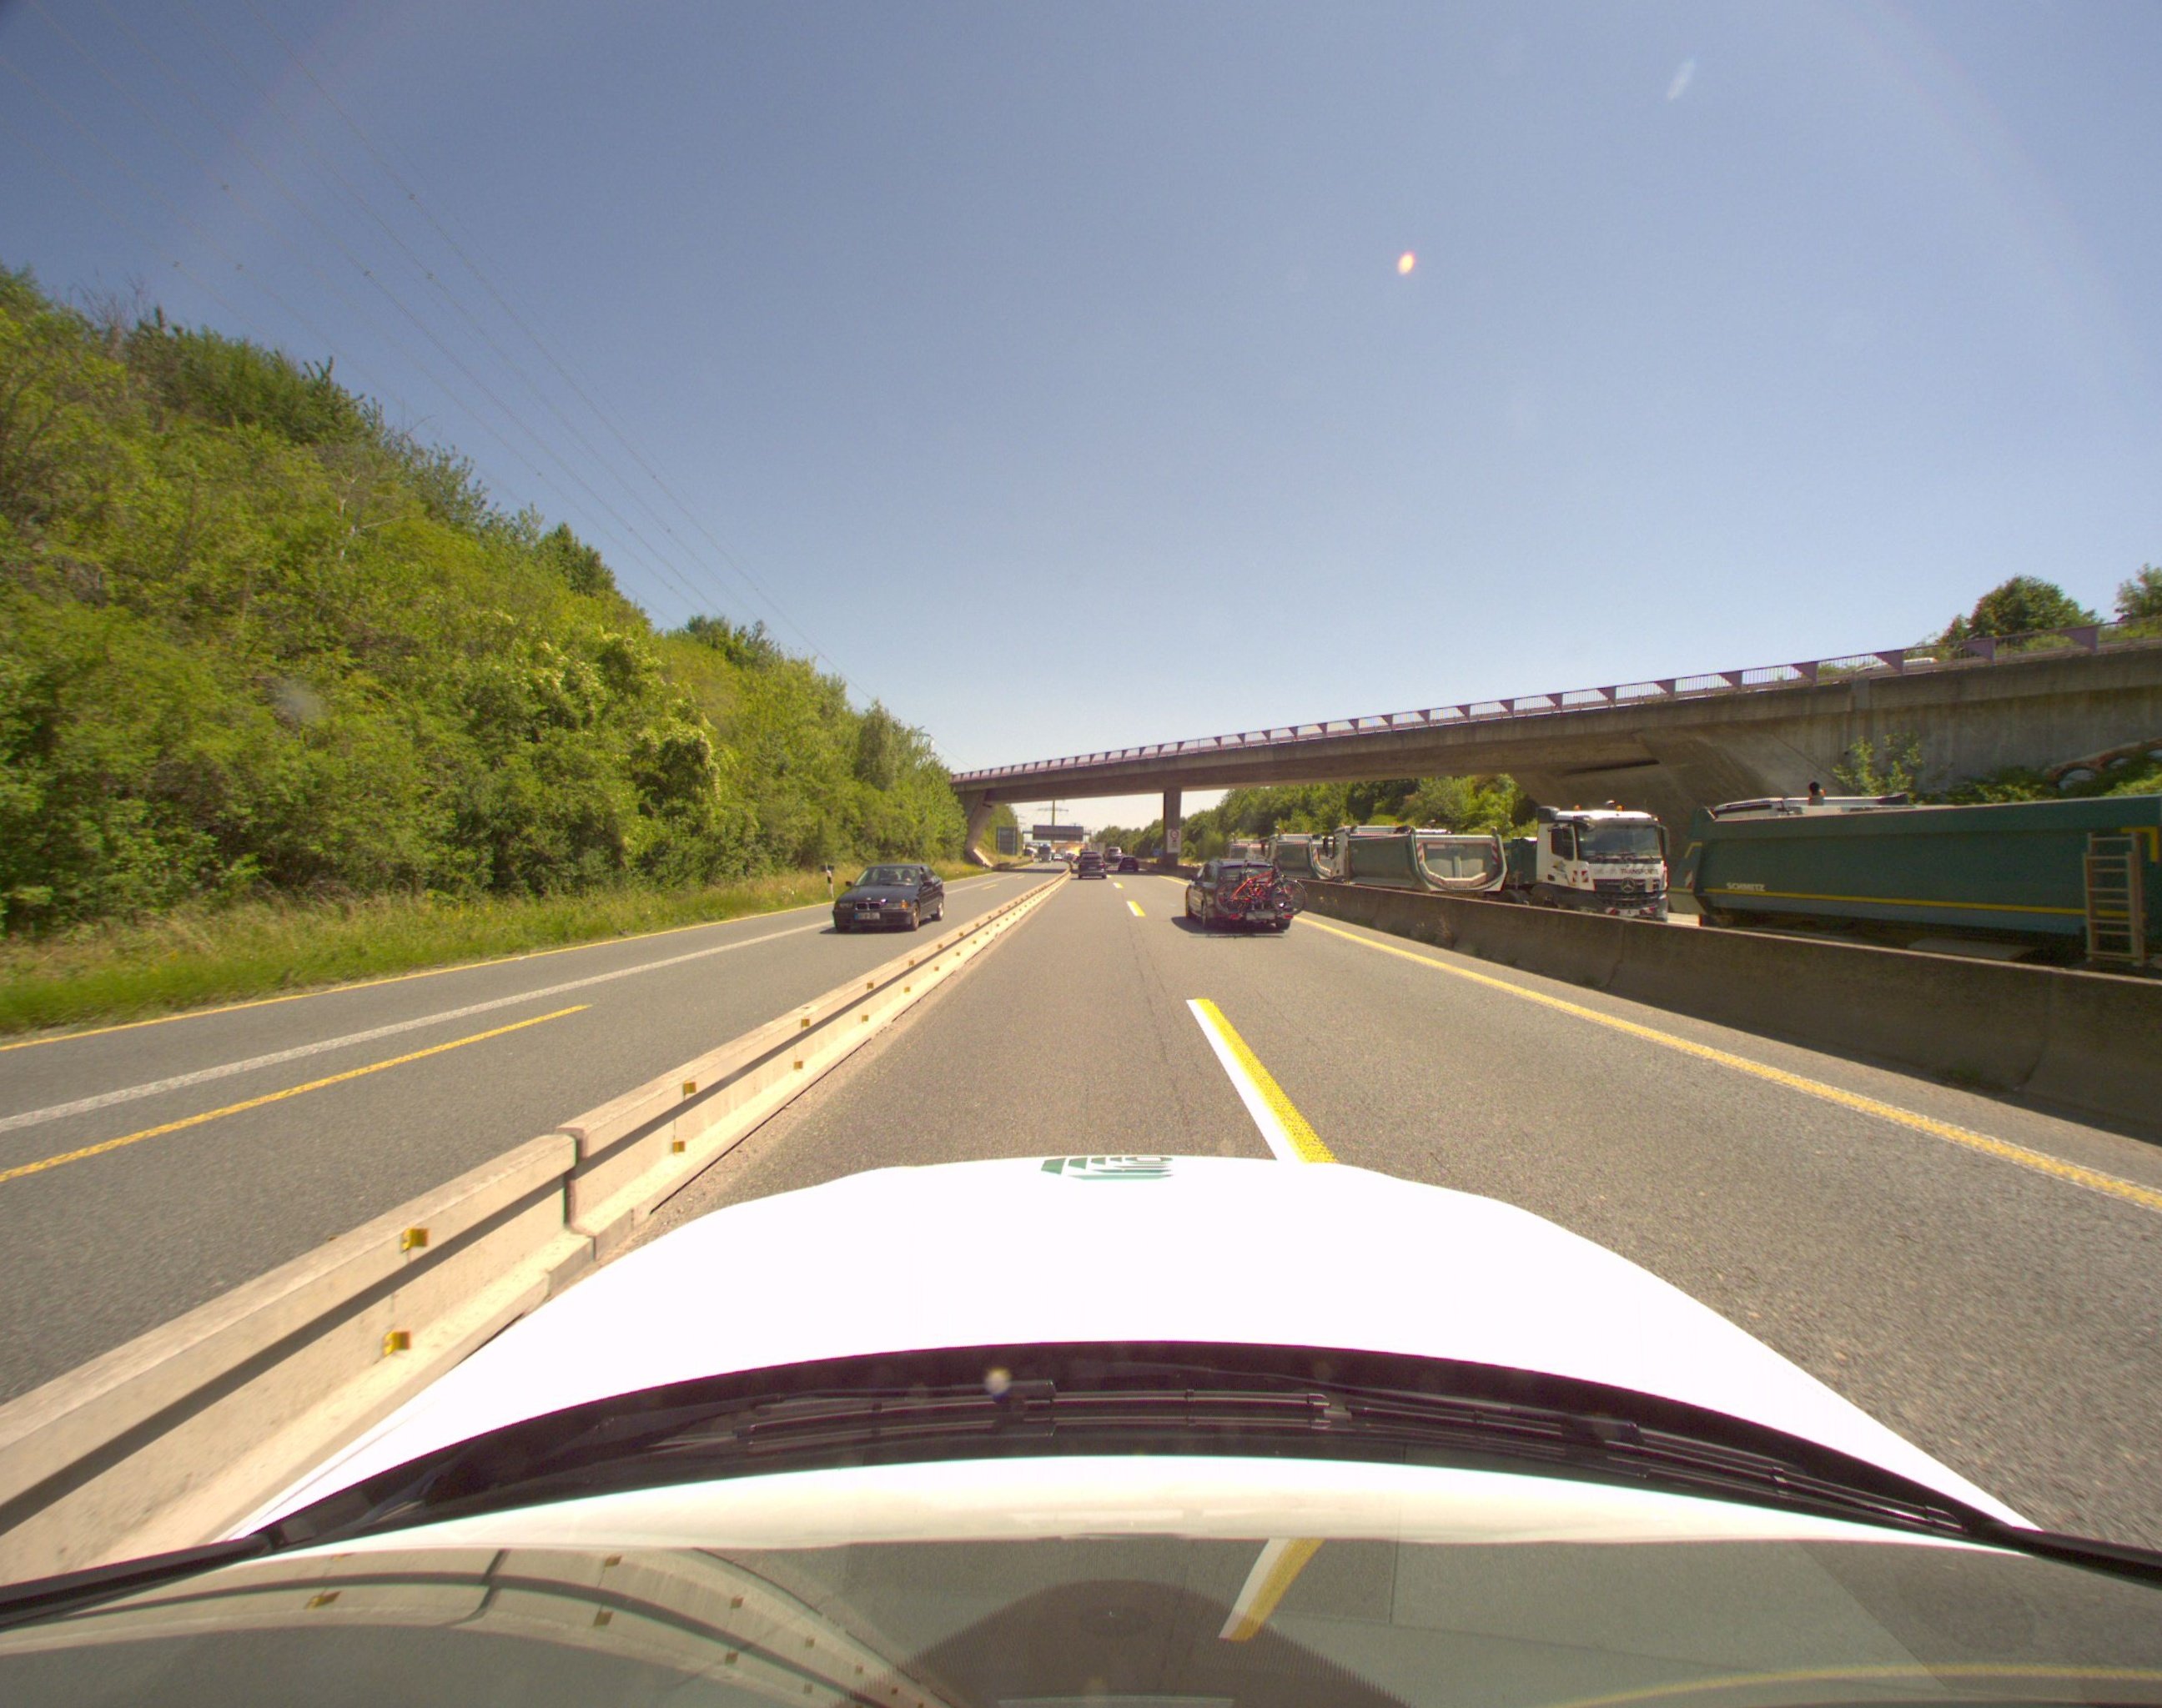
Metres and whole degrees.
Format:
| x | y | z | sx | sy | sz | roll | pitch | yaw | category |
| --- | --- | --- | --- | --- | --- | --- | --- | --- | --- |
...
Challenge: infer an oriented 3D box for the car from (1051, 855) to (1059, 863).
| x | y | z | sx | sy | sz | roll | pitch | yaw | category |
| --- | --- | --- | --- | --- | --- | --- | --- | --- | --- |
| -5.940 | 1.105 | 184.921 | 1.758 | 1.838 | 3.995 | 0 | -1 | -3 | car |

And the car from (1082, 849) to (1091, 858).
| x | y | z | sx | sy | sz | roll | pitch | yaw | category |
| --- | --- | --- | --- | --- | --- | --- | --- | --- | --- |
| 1.260 | -0.117 | 187.893 | 1.895 | 1.968 | 4.271 | 0 | 0 | -3 | car |

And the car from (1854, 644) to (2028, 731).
| x | y | z | sx | sy | sz | roll | pitch | yaw | category |
| --- | --- | --- | --- | --- | --- | --- | --- | --- | --- |
| 36.057 | -6.880 | 34.267 | 2.269 | 2.540 | 4.728 | 0 | -1 | -34 | car |

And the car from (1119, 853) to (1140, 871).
| x | y | z | sx | sy | sz | roll | pitch | yaw | category |
| --- | --- | --- | --- | --- | --- | --- | --- | --- | --- |
| 4.436 | 0.744 | 75.255 | 1.892 | 1.585 | 4.279 | 0 | 0 | 2 | car |

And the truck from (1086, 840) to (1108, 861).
| x | y | z | sx | sy | sz | roll | pitch | yaw | category |
| --- | --- | --- | --- | --- | --- | --- | --- | --- | --- |
| 2.965 | -0.610 | 152.389 | 3.285 | 3.845 | 10.097 | 0 | 0 | -3 | truck |

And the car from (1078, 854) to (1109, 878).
| x | y | z | sx | sy | sz | roll | pitch | yaw | category |
| --- | --- | --- | --- | --- | --- | --- | --- | --- | --- |
| 0.843 | 0.753 | 53.365 | 1.891 | 1.505 | 4.279 | 0 | 0 | 3 | car |

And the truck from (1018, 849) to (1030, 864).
| x | y | z | sx | sy | sz | roll | pitch | yaw | category |
| --- | --- | --- | --- | --- | --- | --- | --- | --- | --- |
| -12.267 | 0.500 | 176.394 | 2.503 | 3.186 | 10.098 | 0 | 0 | -3 | truck |

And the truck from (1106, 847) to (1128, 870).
| x | y | z | sx | sy | sz | roll | pitch | yaw | category |
| --- | --- | --- | --- | --- | --- | --- | --- | --- | --- |
| 4.096 | 0.467 | 94.368 | 2.397 | 2.558 | 7.501 | 0 | 0 | 1 | truck |

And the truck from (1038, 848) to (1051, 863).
| x | y | z | sx | sy | sz | roll | pitch | yaw | category |
| --- | --- | --- | --- | --- | --- | --- | --- | --- | --- |
| -7.756 | 0.335 | 171.715 | 2.503 | 3.186 | 10.098 | 0 | 0 | -3 | truck |

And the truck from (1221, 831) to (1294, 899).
| x | y | z | sx | sy | sz | roll | pitch | yaw | category |
| --- | --- | --- | --- | --- | --- | --- | --- | --- | --- |
| 10.721 | 0.625 | 50.425 | 2.677 | 3.843 | 9.327 | 0 | 0 | 1 | truck |

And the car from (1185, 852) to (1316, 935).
| x | y | z | sx | sy | sz | roll | pitch | yaw | category |
| --- | --- | --- | --- | --- | --- | --- | --- | --- | --- |
| 3.374 | 0.735 | 17.178 | 1.892 | 1.490 | 4.949 | 0 | -1 | 2 | car |

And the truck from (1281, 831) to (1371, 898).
| x | y | z | sx | sy | sz | roll | pitch | yaw | category |
| --- | --- | --- | --- | --- | --- | --- | --- | --- | --- |
| 14.208 | 0.561 | 48.056 | 2.678 | 3.557 | 9.326 | 0 | 0 | 1 | truck |

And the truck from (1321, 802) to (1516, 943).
| x | y | z | sx | sy | sz | roll | pitch | yaw | category |
| --- | --- | --- | --- | --- | --- | --- | --- | --- | --- |
| 10.405 | 0.499 | 26.472 | 2.677 | 3.761 | 9.327 | 0 | 0 | 1 | truck |

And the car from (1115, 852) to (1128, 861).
| x | y | z | sx | sy | sz | roll | pitch | yaw | category |
| --- | --- | --- | --- | --- | --- | --- | --- | --- | --- |
| 6.864 | 0.414 | 138.253 | 1.894 | 1.585 | 4.272 | 0 | 0 | -2 | car |

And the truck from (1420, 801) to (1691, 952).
| x | y | z | sx | sy | sz | roll | pitch | yaw | category |
| --- | --- | --- | --- | --- | --- | --- | --- | --- | --- |
| 13.149 | 0.546 | 23.909 | 2.678 | 3.557 | 9.326 | 0 | 0 | 1 | truck |

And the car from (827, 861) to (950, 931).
| x | y | z | sx | sy | sz | roll | pitch | yaw | category |
| --- | --- | --- | --- | --- | --- | --- | --- | --- | --- |
| -4.135 | 0.847 | 18.142 | 1.668 | 1.393 | 4.072 | 0 | -1 | 1 | car |

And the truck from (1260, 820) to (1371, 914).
| x | y | z | sx | sy | sz | roll | pitch | yaw | category |
| --- | --- | --- | --- | --- | --- | --- | --- | --- | --- |
| 10.559 | 0.536 | 37.840 | 2.677 | 3.856 | 9.327 | 0 | 0 | 1 | truck |

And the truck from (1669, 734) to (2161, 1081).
| x | y | z | sx | sy | sz | roll | pitch | yaw | category |
| --- | --- | --- | --- | --- | --- | --- | --- | --- | --- |
| 13.133 | 0.583 | 11.779 | 2.677 | 3.761 | 9.327 | 0 | 0 | 1 | truck |

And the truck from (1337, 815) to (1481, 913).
| x | y | z | sx | sy | sz | roll | pitch | yaw | category |
| --- | --- | --- | --- | --- | --- | --- | --- | --- | --- |
| 13.966 | 0.401 | 35.688 | 2.678 | 3.727 | 9.326 | 0 | 0 | 1 | truck |

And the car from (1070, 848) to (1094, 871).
| x | y | z | sx | sy | sz | roll | pitch | yaw | category |
| --- | --- | --- | --- | --- | --- | --- | --- | --- | --- |
| 0.125 | 0.485 | 73.396 | 1.891 | 1.968 | 4.279 | 0 | 0 | 3 | car |

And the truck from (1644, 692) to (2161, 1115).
| x | y | z | sx | sy | sz | roll | pitch | yaw | category |
| --- | --- | --- | --- | --- | --- | --- | --- | --- | --- |
| 10.476 | 0.416 | 8.655 | 2.678 | 3.557 | 9.326 | 0 | 0 | 1 | truck |
